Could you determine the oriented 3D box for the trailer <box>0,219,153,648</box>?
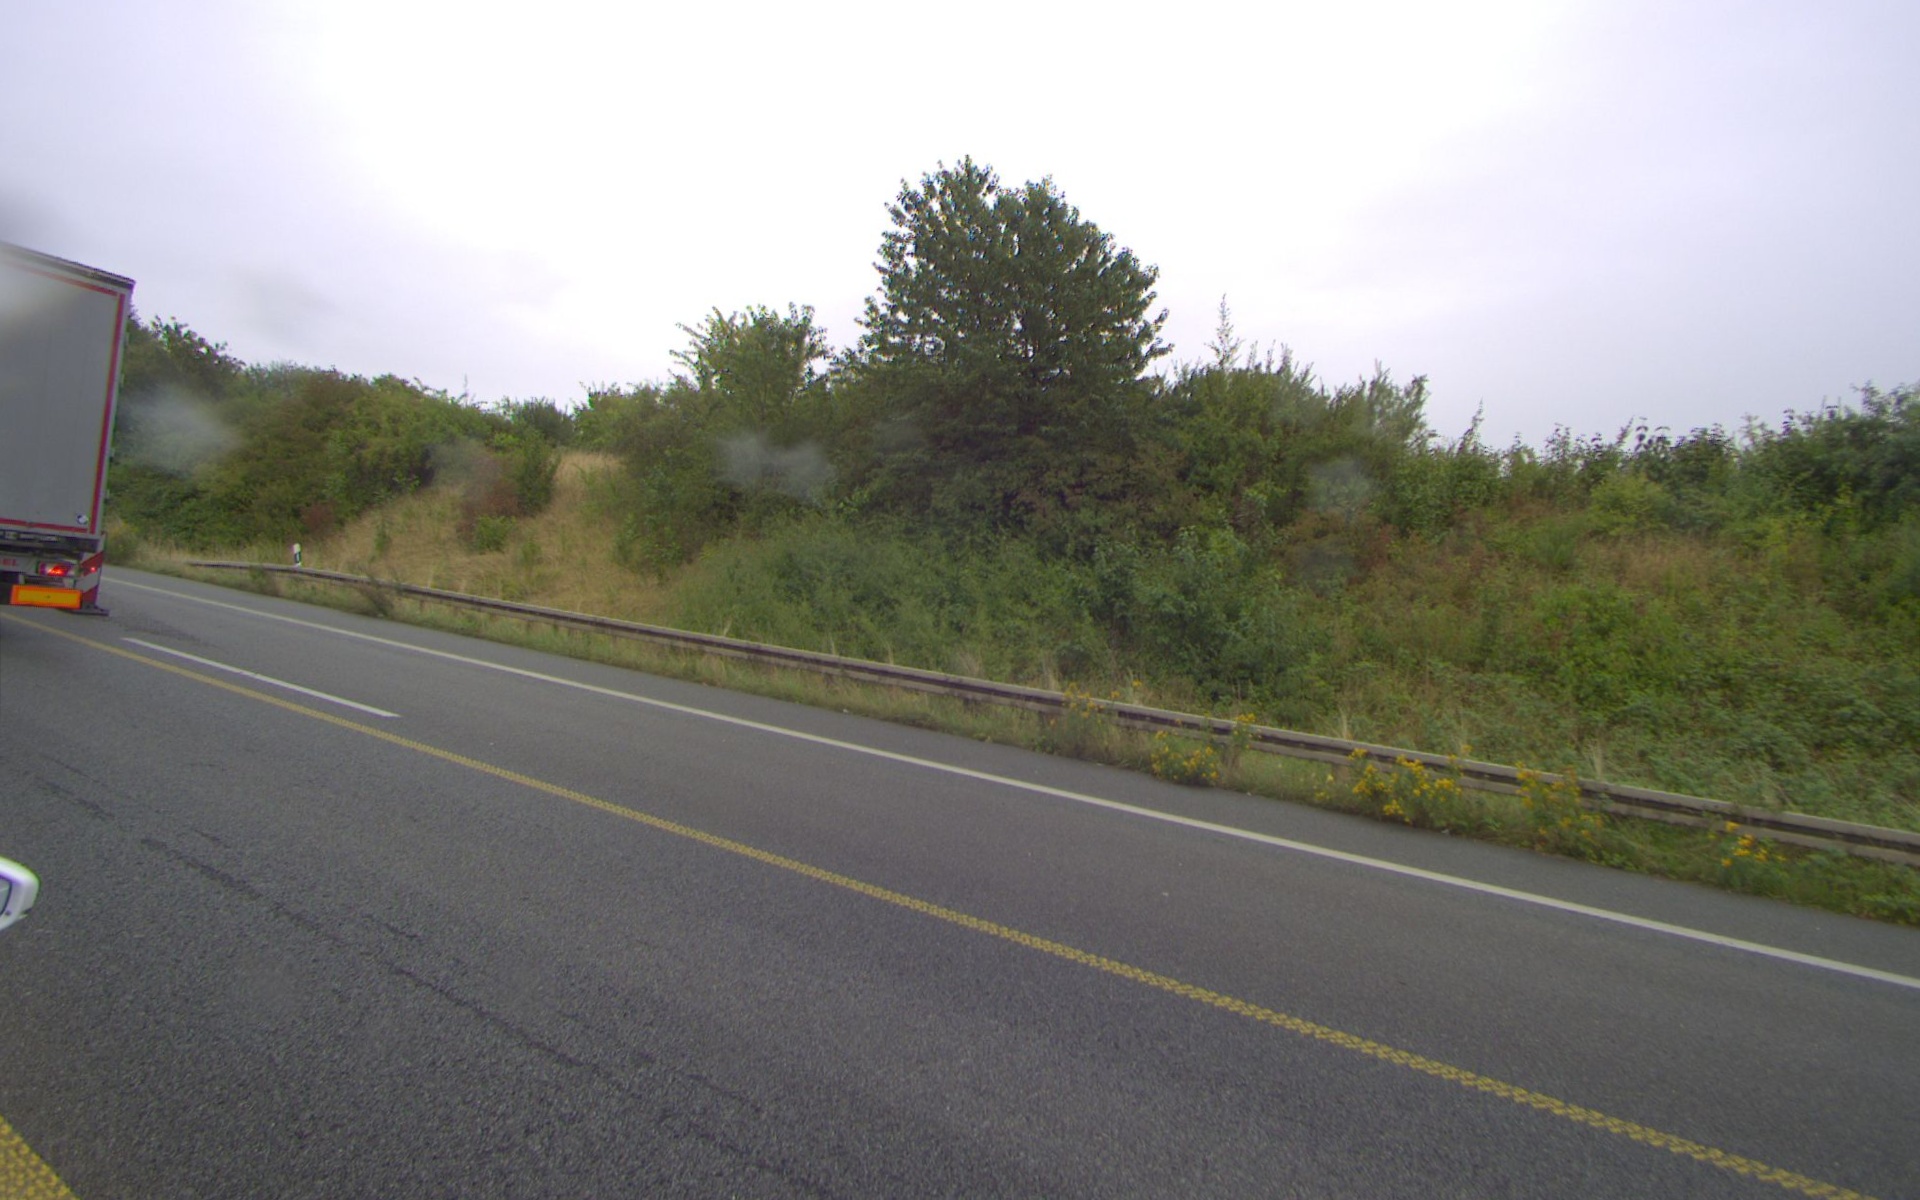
[{"bbox_3d":[-15.463,-2.344,13.383,13.504,4.196,2.710,7,-1,32],"label":"trailer"}]
